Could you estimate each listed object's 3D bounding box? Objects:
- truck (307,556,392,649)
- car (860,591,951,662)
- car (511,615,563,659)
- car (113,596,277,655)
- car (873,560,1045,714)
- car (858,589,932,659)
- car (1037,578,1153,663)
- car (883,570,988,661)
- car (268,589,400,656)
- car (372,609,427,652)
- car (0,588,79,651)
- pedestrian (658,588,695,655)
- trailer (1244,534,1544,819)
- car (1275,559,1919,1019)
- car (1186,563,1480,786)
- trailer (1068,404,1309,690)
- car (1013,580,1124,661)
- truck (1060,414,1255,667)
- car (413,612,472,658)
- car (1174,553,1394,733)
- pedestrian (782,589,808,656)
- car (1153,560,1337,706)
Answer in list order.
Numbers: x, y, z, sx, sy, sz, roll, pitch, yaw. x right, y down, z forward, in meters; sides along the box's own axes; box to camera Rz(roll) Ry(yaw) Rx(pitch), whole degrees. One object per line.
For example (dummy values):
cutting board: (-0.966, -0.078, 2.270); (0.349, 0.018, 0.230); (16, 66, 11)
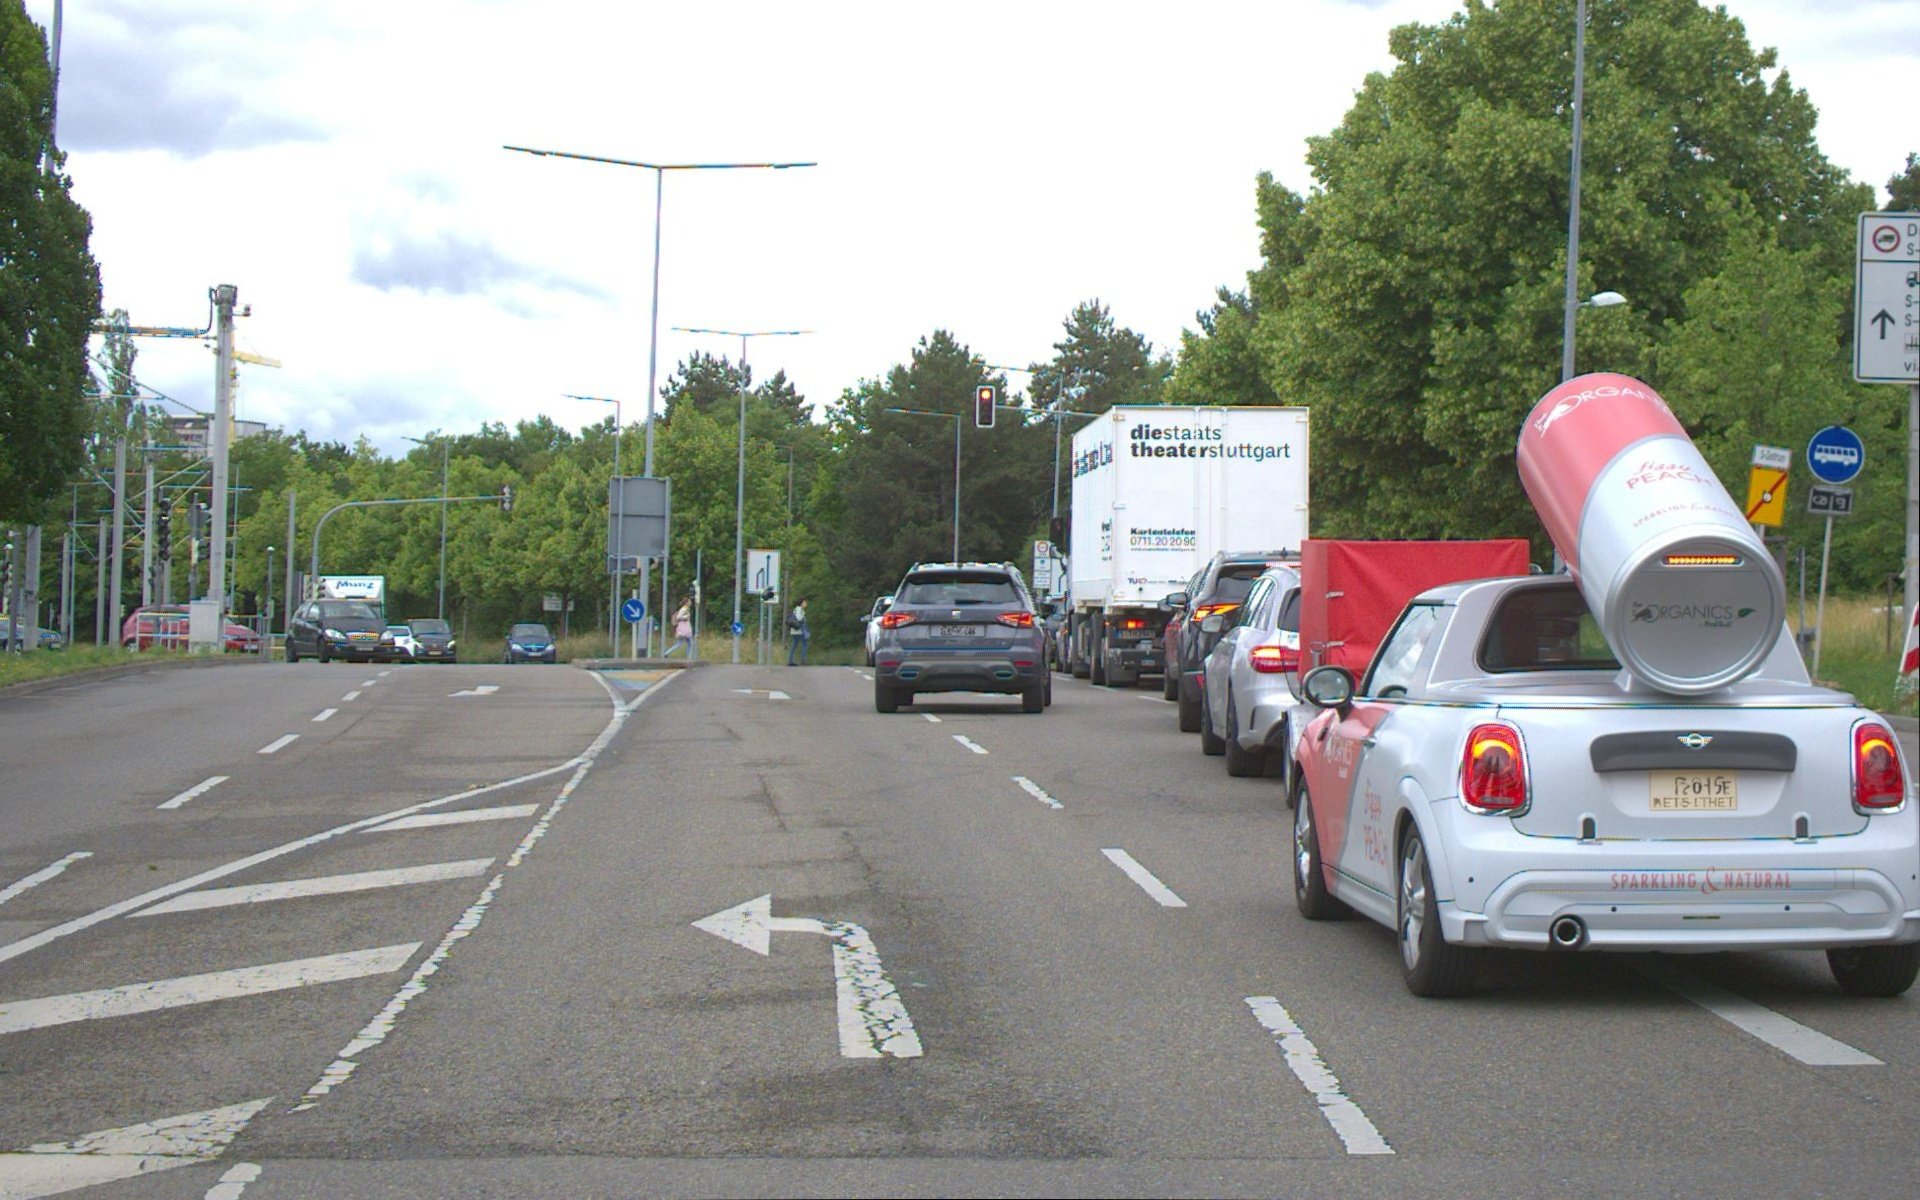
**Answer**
truck: (-25.187, 0.027, 141.594); (2.659, 3.636, 9.505); (0, 1, -15)
car: (-1.143, 0.552, 70.423); (1.721, 1.417, 4.357); (0, -1, -3)
car: (-16.494, 1.434, 134.026); (1.915, 1.571, 4.001); (0, 1, -8)
car: (-20.251, 0.668, 91.020); (4.079, 1.483, 1.705); (1, 0, 28)
car: (-0.058, 0.340, 36.003); (1.698, 1.481, 4.000); (0, 1, -1)
car: (-1.452, 0.542, 75.771); (1.535, 1.499, 2.670); (0, -1, -3)
car: (2.310, 0.331, 59.801); (1.812, 1.349, 4.118); (0, 1, -1)
car: (-0.459, 0.252, 61.318); (1.799, 1.518, 4.188); (1, 1, -1)
car: (-15.211, 0.552, 83.421); (1.725, 1.568, 3.706); (1, -1, -35)
car: (-21.631, 1.164, 132.802); (1.775, 1.503, 3.747); (-1, 2, -4)
car: (-26.090, 0.507, 92.915); (3.988, 1.590, 2.000); (1, 2, 6)
pedestrian: (-6.694, 0.500, 81.078); (0.863, 1.555, 0.518); (0, 2, -4)
trailer: (2.573, 0.411, 20.941); (1.409, 1.588, 3.303); (0, 1, 0)
car: (2.278, 0.592, 12.805); (1.718, 1.452, 3.697); (1, 0, -2)
car: (2.601, 0.472, 24.837); (1.671, 1.442, 4.489); (1, 0, 1)
trailer: (3.084, -0.802, 48.389); (2.565, 3.692, 7.765); (0, 2, -2)
car: (2.018, 0.364, 65.121); (1.825, 1.430, 4.213); (0, 1, -2)
truck: (2.948, -0.926, 52.372); (2.571, 3.693, 4.107); (0, 2, -2)
car: (-21.099, 1.441, 140.036); (1.915, 1.722, 4.001); (1, -3, -15)
car: (2.939, 0.347, 31.953); (1.845, 1.556, 4.404); (0, 1, 3)
pedestrian: (-3.996, 0.546, 83.269); (0.586, 1.616, 0.423); (0, 2, -4)
car: (3.132, 0.344, 38.460); (1.707, 1.519, 4.319); (0, 0, 0)
